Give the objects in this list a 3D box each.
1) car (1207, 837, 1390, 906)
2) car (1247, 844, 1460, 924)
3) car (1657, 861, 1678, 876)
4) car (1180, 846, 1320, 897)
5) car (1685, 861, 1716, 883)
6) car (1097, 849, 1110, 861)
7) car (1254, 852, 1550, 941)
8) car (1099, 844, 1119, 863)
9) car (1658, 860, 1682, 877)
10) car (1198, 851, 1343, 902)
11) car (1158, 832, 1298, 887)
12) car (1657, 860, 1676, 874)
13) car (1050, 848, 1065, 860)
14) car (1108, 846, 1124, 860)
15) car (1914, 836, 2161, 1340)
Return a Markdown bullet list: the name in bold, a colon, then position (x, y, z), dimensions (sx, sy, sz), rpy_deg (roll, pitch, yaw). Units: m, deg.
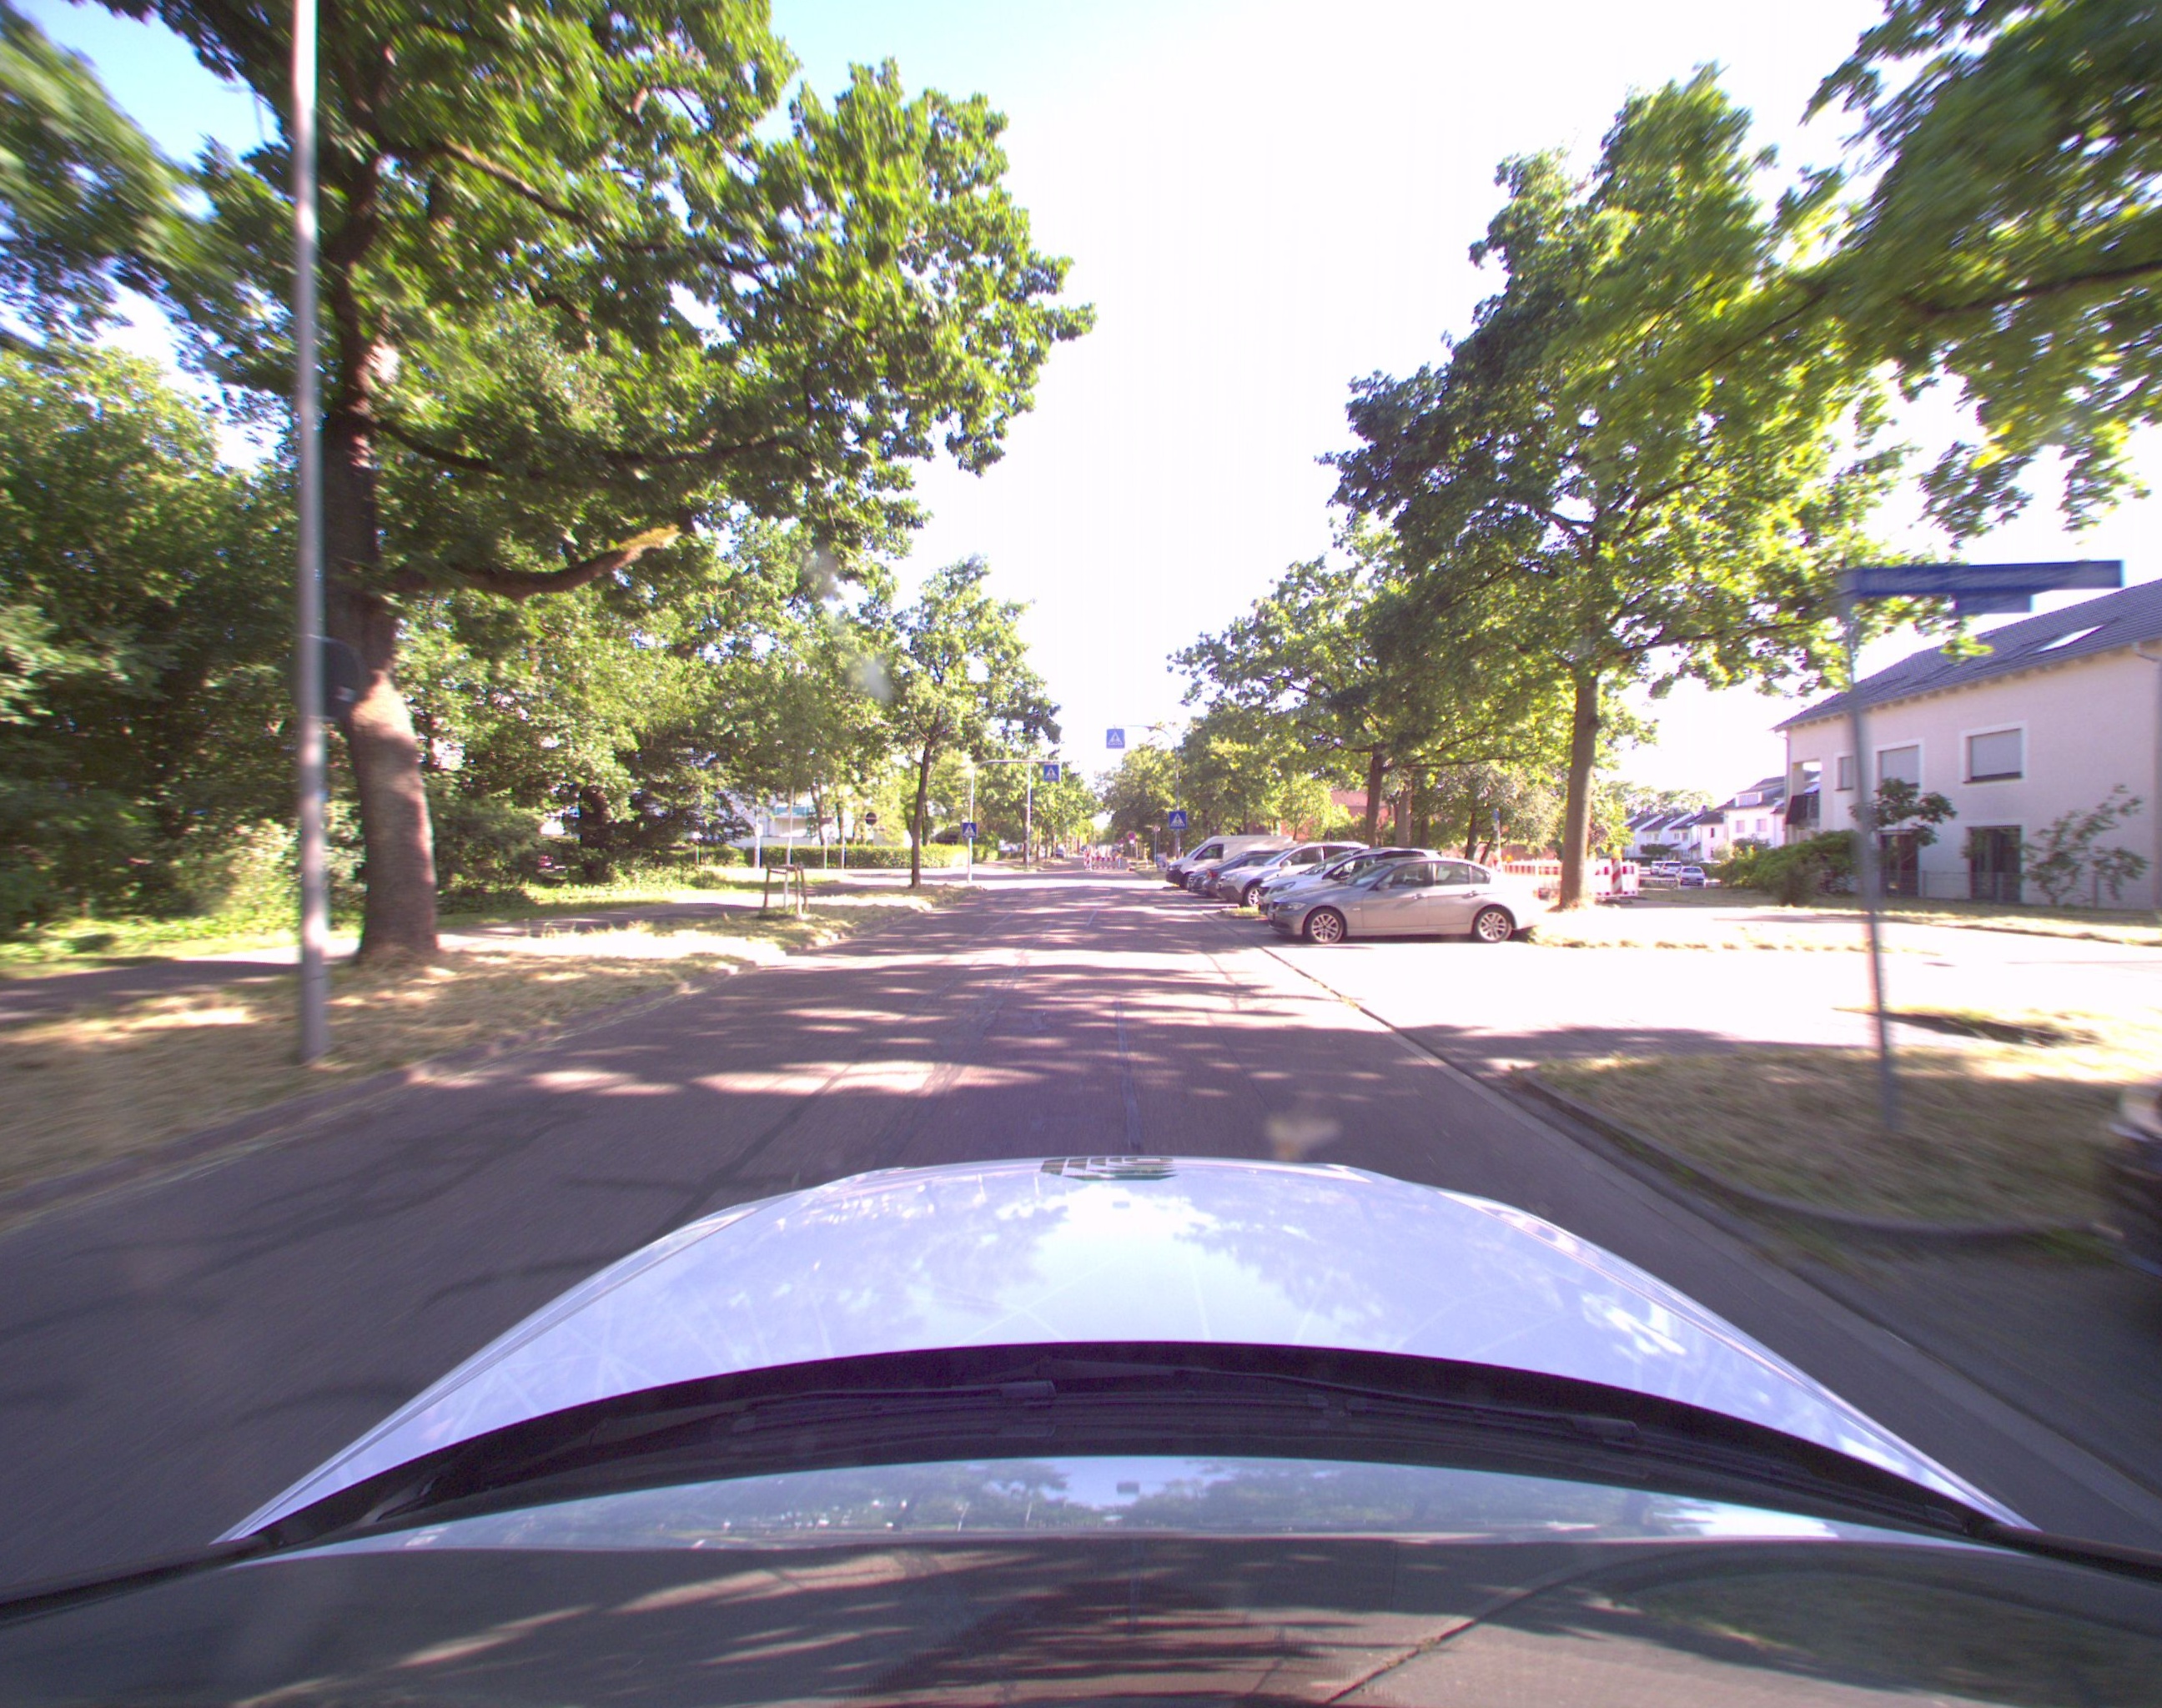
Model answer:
- **car**: position (5.698, 0.436, 21.735), dimensions (4.371, 1.651, 1.850), rpy_deg (-1, 0, -1)
- **car**: position (5.602, 0.593, 17.099), dimensions (3.871, 1.497, 1.777), rpy_deg (-1, 0, 0)
- **car**: position (63.629, 1.532, 88.403), dimensions (1.714, 1.555, 3.489), rpy_deg (1, 0, 34)
- **car**: position (5.501, 0.543, 26.892), dimensions (4.199, 1.568, 1.933), rpy_deg (1, 0, -1)
- **car**: position (47.307, 1.335, 62.230), dimensions (1.714, 1.555, 3.489), rpy_deg (1, 0, 34)
- **car**: position (3.435, 0.107, 124.699), dimensions (1.986, 1.716, 4.001), rpy_deg (1, 0, 1)
- **car**: position (5.415, 0.689, 14.180), dimensions (4.429, 1.390, 1.911), rpy_deg (-1, 0, 1)
- **car**: position (3.012, -0.077, 87.991), dimensions (1.986, 1.933, 4.001), rpy_deg (1, 0, 1)
- **car**: position (56.979, 1.349, 78.806), dimensions (1.714, 1.555, 3.489), rpy_deg (1, 0, 34)
- **car**: position (5.567, 0.636, 24.323), dimensions (3.970, 1.433, 1.902), rpy_deg (0, 0, 3)
- **car**: position (5.714, 0.215, 32.098), dimensions (5.171, 2.105, 2.082), rpy_deg (0, 0, -1)
- **car**: position (67.406, 1.465, 93.748), dimensions (1.714, 1.555, 3.489), rpy_deg (1, 0, 34)
- **car**: position (-3.292, 0.016, 115.191), dimensions (1.986, 1.716, 4.001), rpy_deg (1, 0, 1)
- **car**: position (4.636, -0.156, 108.920), dimensions (1.986, 1.716, 4.001), rpy_deg (1, 0, 1)
- **car**: position (5.441, 0.633, 2.086), dimensions (4.655, 1.455, 1.917), rpy_deg (-1, 0, 0)
